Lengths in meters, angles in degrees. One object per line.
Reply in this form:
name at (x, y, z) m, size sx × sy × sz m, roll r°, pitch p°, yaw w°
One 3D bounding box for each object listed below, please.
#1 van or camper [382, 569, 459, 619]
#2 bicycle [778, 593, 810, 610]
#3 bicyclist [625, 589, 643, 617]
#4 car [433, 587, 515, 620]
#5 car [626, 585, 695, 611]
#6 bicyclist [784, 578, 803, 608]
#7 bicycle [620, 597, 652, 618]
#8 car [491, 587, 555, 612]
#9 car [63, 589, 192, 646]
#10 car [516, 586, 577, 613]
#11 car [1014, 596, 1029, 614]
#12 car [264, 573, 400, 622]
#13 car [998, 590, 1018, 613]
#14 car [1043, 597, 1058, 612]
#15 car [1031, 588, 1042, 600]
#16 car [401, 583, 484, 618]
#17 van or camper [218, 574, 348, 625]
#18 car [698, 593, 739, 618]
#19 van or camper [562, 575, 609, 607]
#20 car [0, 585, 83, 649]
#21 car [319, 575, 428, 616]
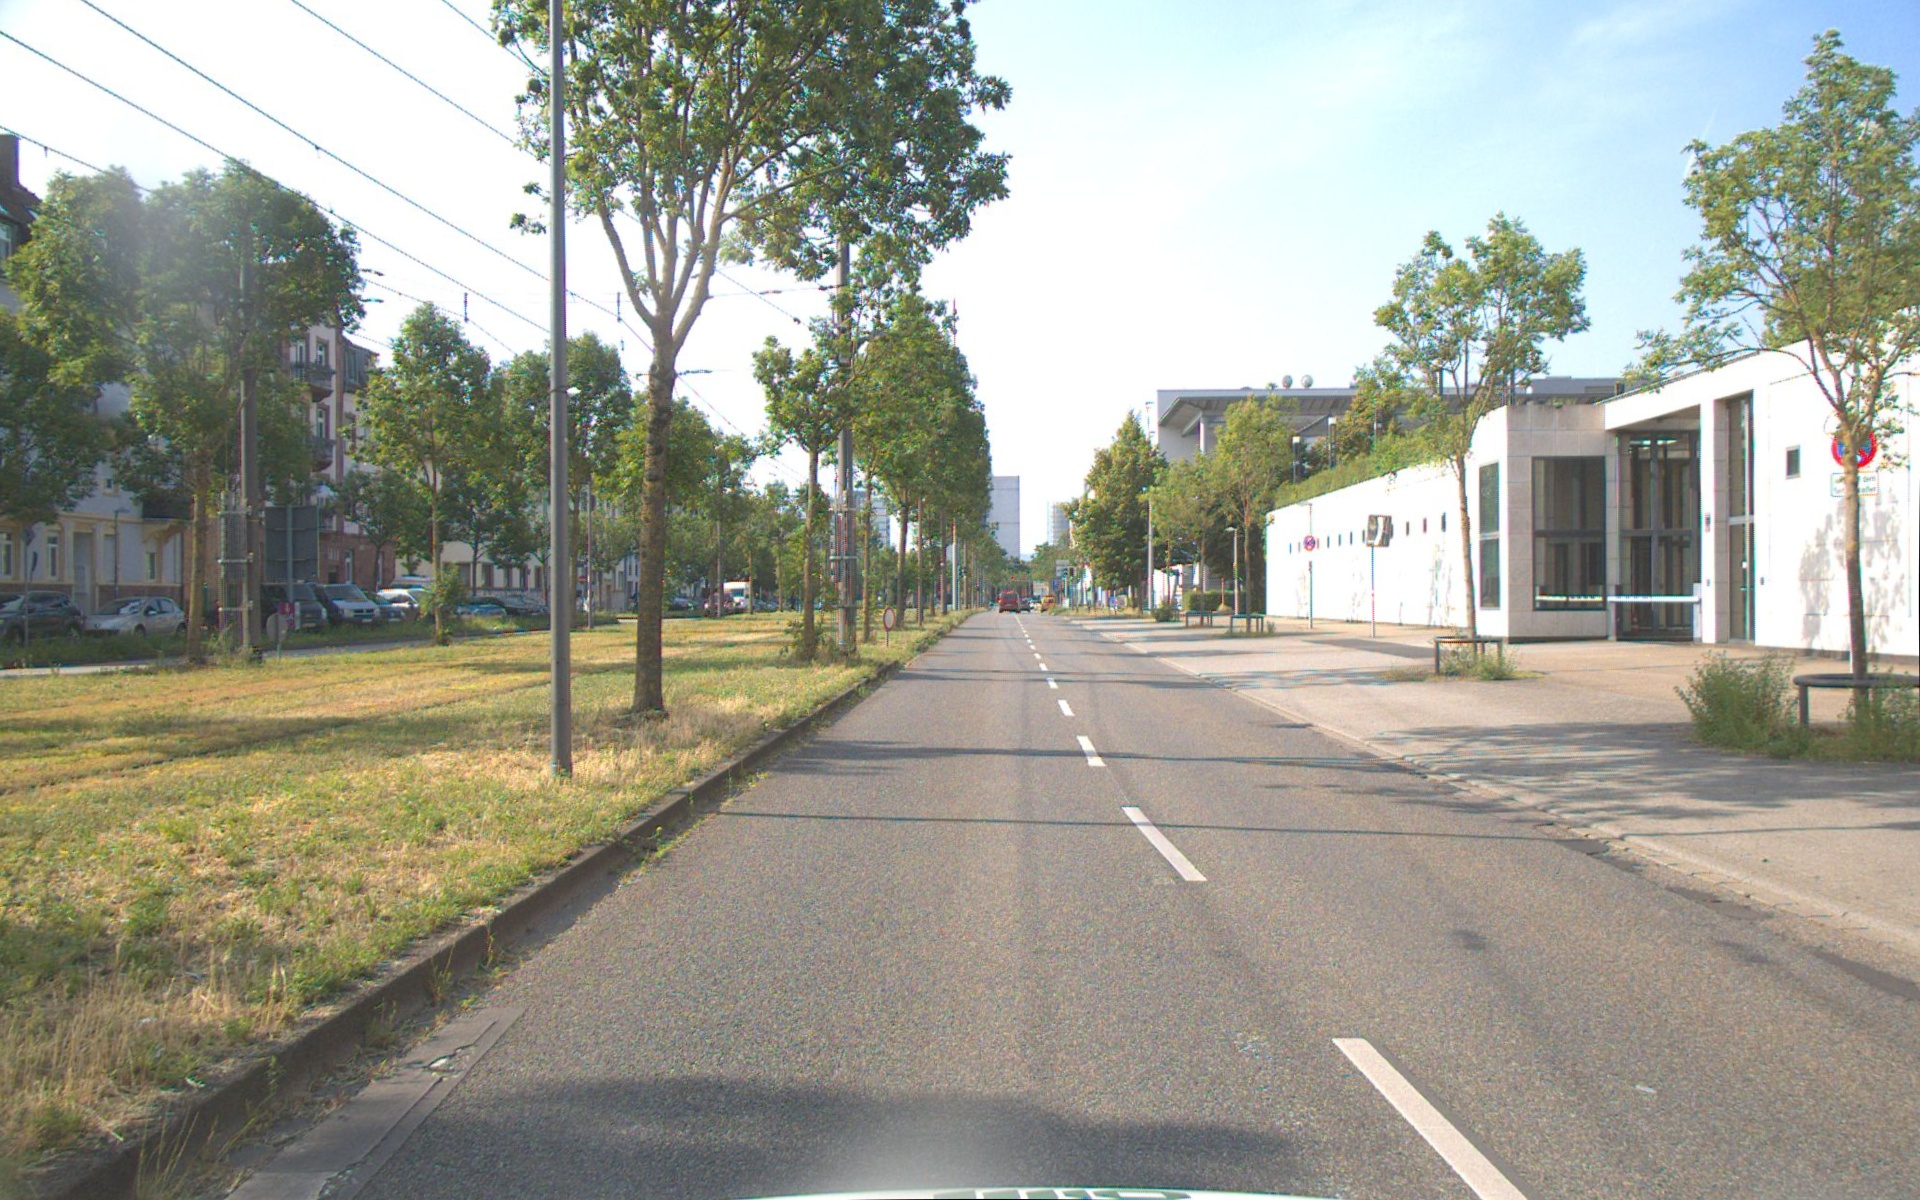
van or camper at (-29.586, -0.317, 90.898) m, size 1.997 × 2.612 × 6.357 m, roll 2°, pitch 0°, yaw 1°
bicycle at (-11.120, 0.097, 110.729) m, size 2.023 × 1.060 × 0.668 m, roll 2°, pitch 0°, yaw 2°
bicyclist at (-21.672, 0.205, 110.001) m, size 1.126 × 1.792 × 0.684 m, roll 2°, pitch 0°, yaw -11°
car at (-22.832, 0.152, 77.638) m, size 3.919 × 1.442 × 1.572 m, roll 2°, pitch 0°, yaw 35°
car at (-22.343, -0.141, 123.418) m, size 5.220 × 1.768 × 1.993 m, roll 2°, pitch 0°, yaw 36°
bicyclist at (-11.129, -0.445, 110.734) m, size 1.123 × 1.968 × 0.686 m, roll 2°, pitch 0°, yaw 3°
bicycle at (-21.522, 0.495, 110.037) m, size 2.029 × 1.347 × 0.782 m, roll 2°, pitch 0°, yaw -11°
car at (-22.415, -0.017, 84.760) m, size 3.099 × 1.181 × 1.492 m, roll 2°, pitch 0°, yaw 34°
car at (-25.828, 0.511, 51.490) m, size 1.851 × 1.657 × 4.156 m, roll 2°, pitch 0°, yaw 0°
car at (-22.254, -0.029, 88.923) m, size 3.101 × 1.349 × 1.491 m, roll 2°, pitch 0°, yaw 35°
car at (7.381, 0.563, 196.866) m, size 1.712 × 2.049 × 3.216 m, roll 2°, pitch 0°, yaw 2°
car at (-23.419, -0.105, 61.597) m, size 5.111 × 1.652 × 2.051 m, roll 2°, pitch 0°, yaw 32°
car at (4.443, 0.176, 152.886) m, size 1.712 × 2.049 × 3.216 m, roll 2°, pitch 0°, yaw 2°
car at (10.694, 0.558, 196.395) m, size 1.712 × 1.679 × 3.216 m, roll 2°, pitch 0°, yaw 2°
car at (11.615, -0.936, 251.482) m, size 1.712 × 1.679 × 3.217 m, roll 2°, pitch 2°, yaw 2°
car at (-23.549, 0.009, 75.273) m, size 3.921 × 1.442 × 1.571 m, roll 2°, pitch 0°, yaw 36°
van or camper at (-24.146, -0.016, 58.938) m, size 4.751 × 1.652 × 1.996 m, roll 2°, pitch 0°, yaw 34°
car at (-17.168, 0.397, 117.851) m, size 1.923 × 1.723 × 4.299 m, roll 2°, pitch 0°, yaw 4°
van or camper at (-29.107, -0.650, 128.611) m, size 1.952 × 2.369 × 5.830 m, roll 2°, pitch 0°, yaw 3°
car at (-26.459, 0.441, 45.609) m, size 1.953 × 1.657 × 4.775 m, roll 2°, pitch 0°, yaw 0°
car at (-22.840, -0.181, 64.361) m, size 4.392 × 1.444 × 1.966 m, roll 2°, pitch 0°, yaw 39°
